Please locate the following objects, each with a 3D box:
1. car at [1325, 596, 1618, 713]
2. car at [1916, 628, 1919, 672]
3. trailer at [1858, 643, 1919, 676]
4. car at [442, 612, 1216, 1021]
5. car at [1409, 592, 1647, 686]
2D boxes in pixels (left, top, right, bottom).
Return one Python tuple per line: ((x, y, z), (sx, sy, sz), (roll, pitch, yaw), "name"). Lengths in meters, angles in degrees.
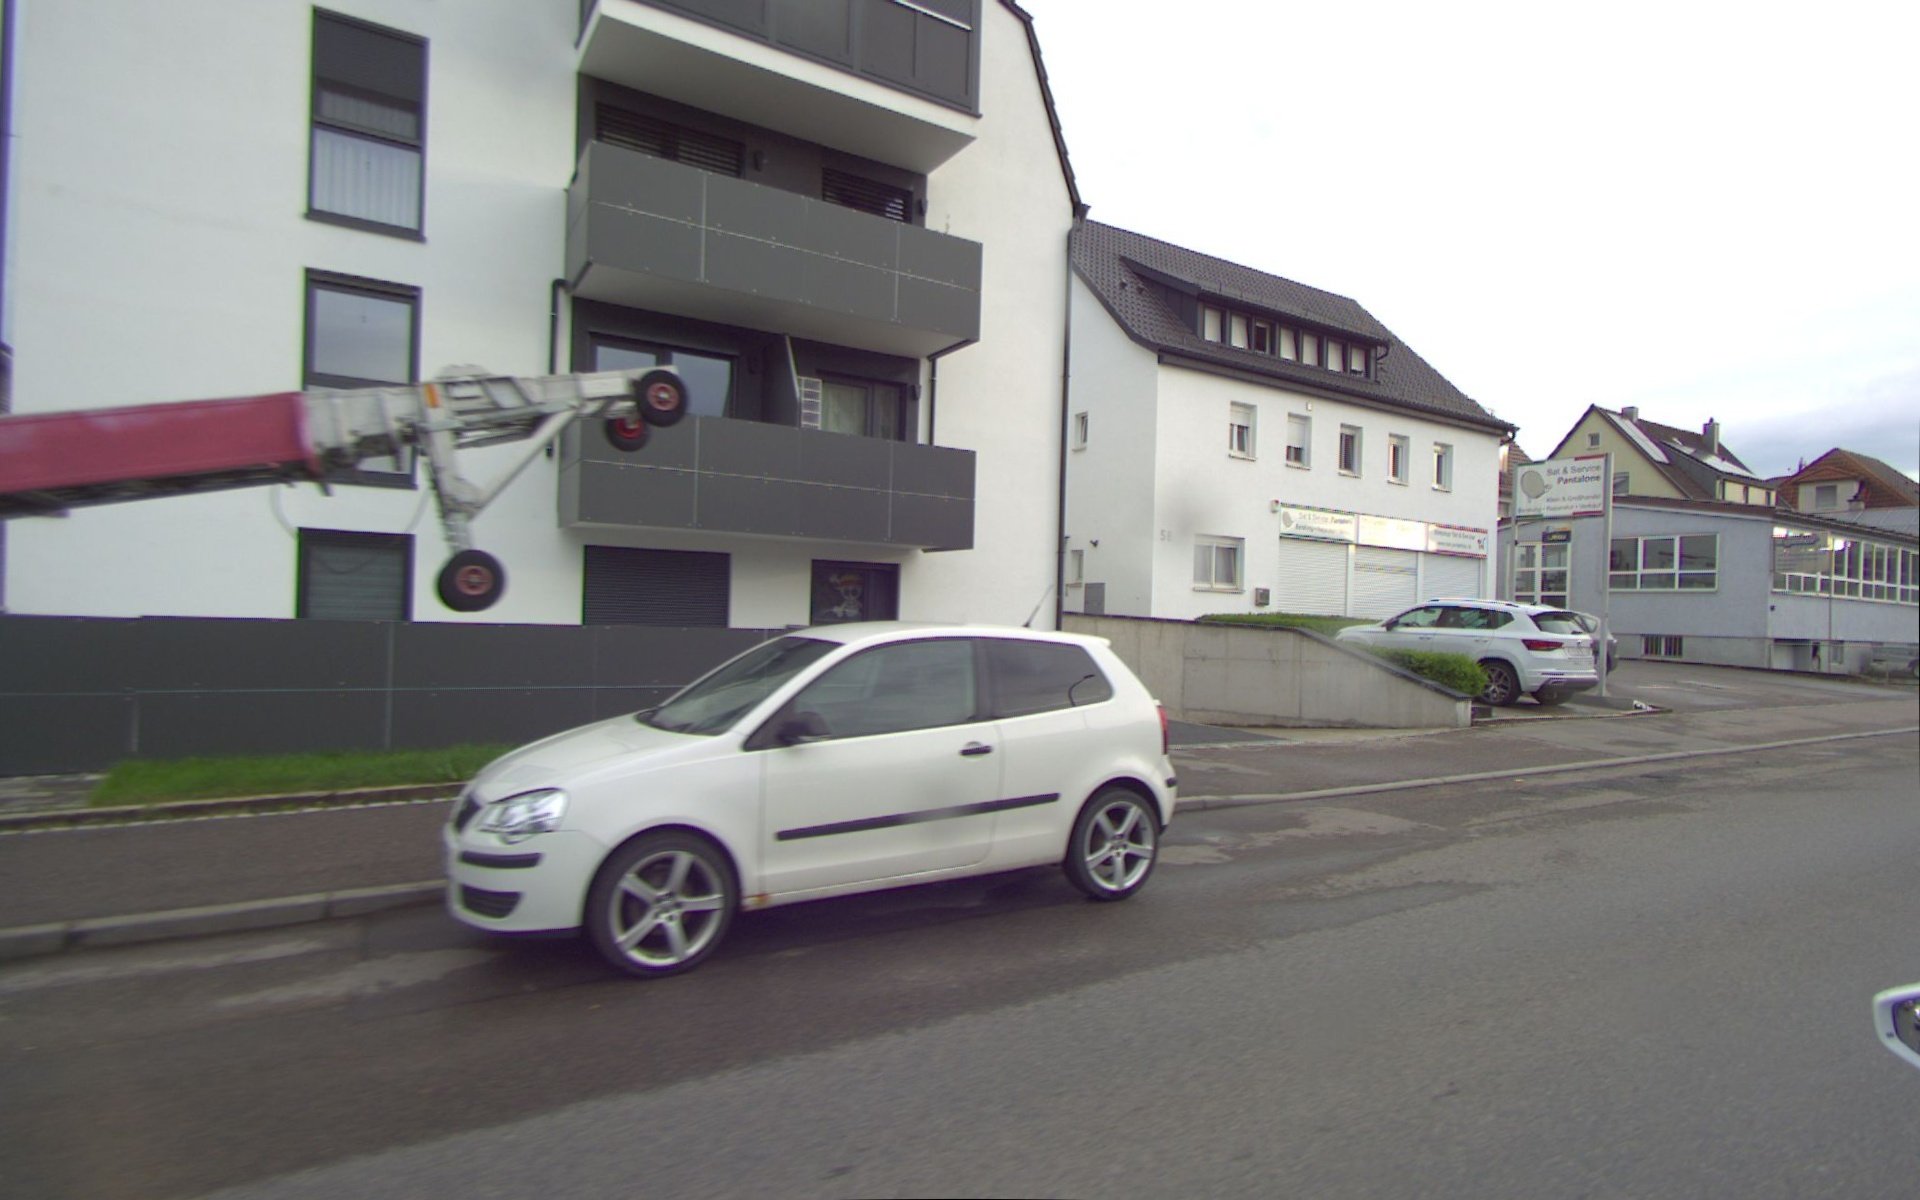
((8.455, 0.812, 16.940), (1.978, 1.669, 3.965), (1, 0, -31), "car")
((33.214, 1.650, 31.900), (1.747, 1.457, 3.855), (1, -1, -30), "car")
((30.747, 1.899, 31.037), (1.774, 0.955, 4.174), (1, -1, -32), "trailer")
((-0.629, 0.849, 5.471), (3.825, 1.525, 1.728), (1, -1, -30), "car")
((11.394, 0.768, 20.240), (3.934, 1.551, 1.819), (3, 4, -16), "car")
